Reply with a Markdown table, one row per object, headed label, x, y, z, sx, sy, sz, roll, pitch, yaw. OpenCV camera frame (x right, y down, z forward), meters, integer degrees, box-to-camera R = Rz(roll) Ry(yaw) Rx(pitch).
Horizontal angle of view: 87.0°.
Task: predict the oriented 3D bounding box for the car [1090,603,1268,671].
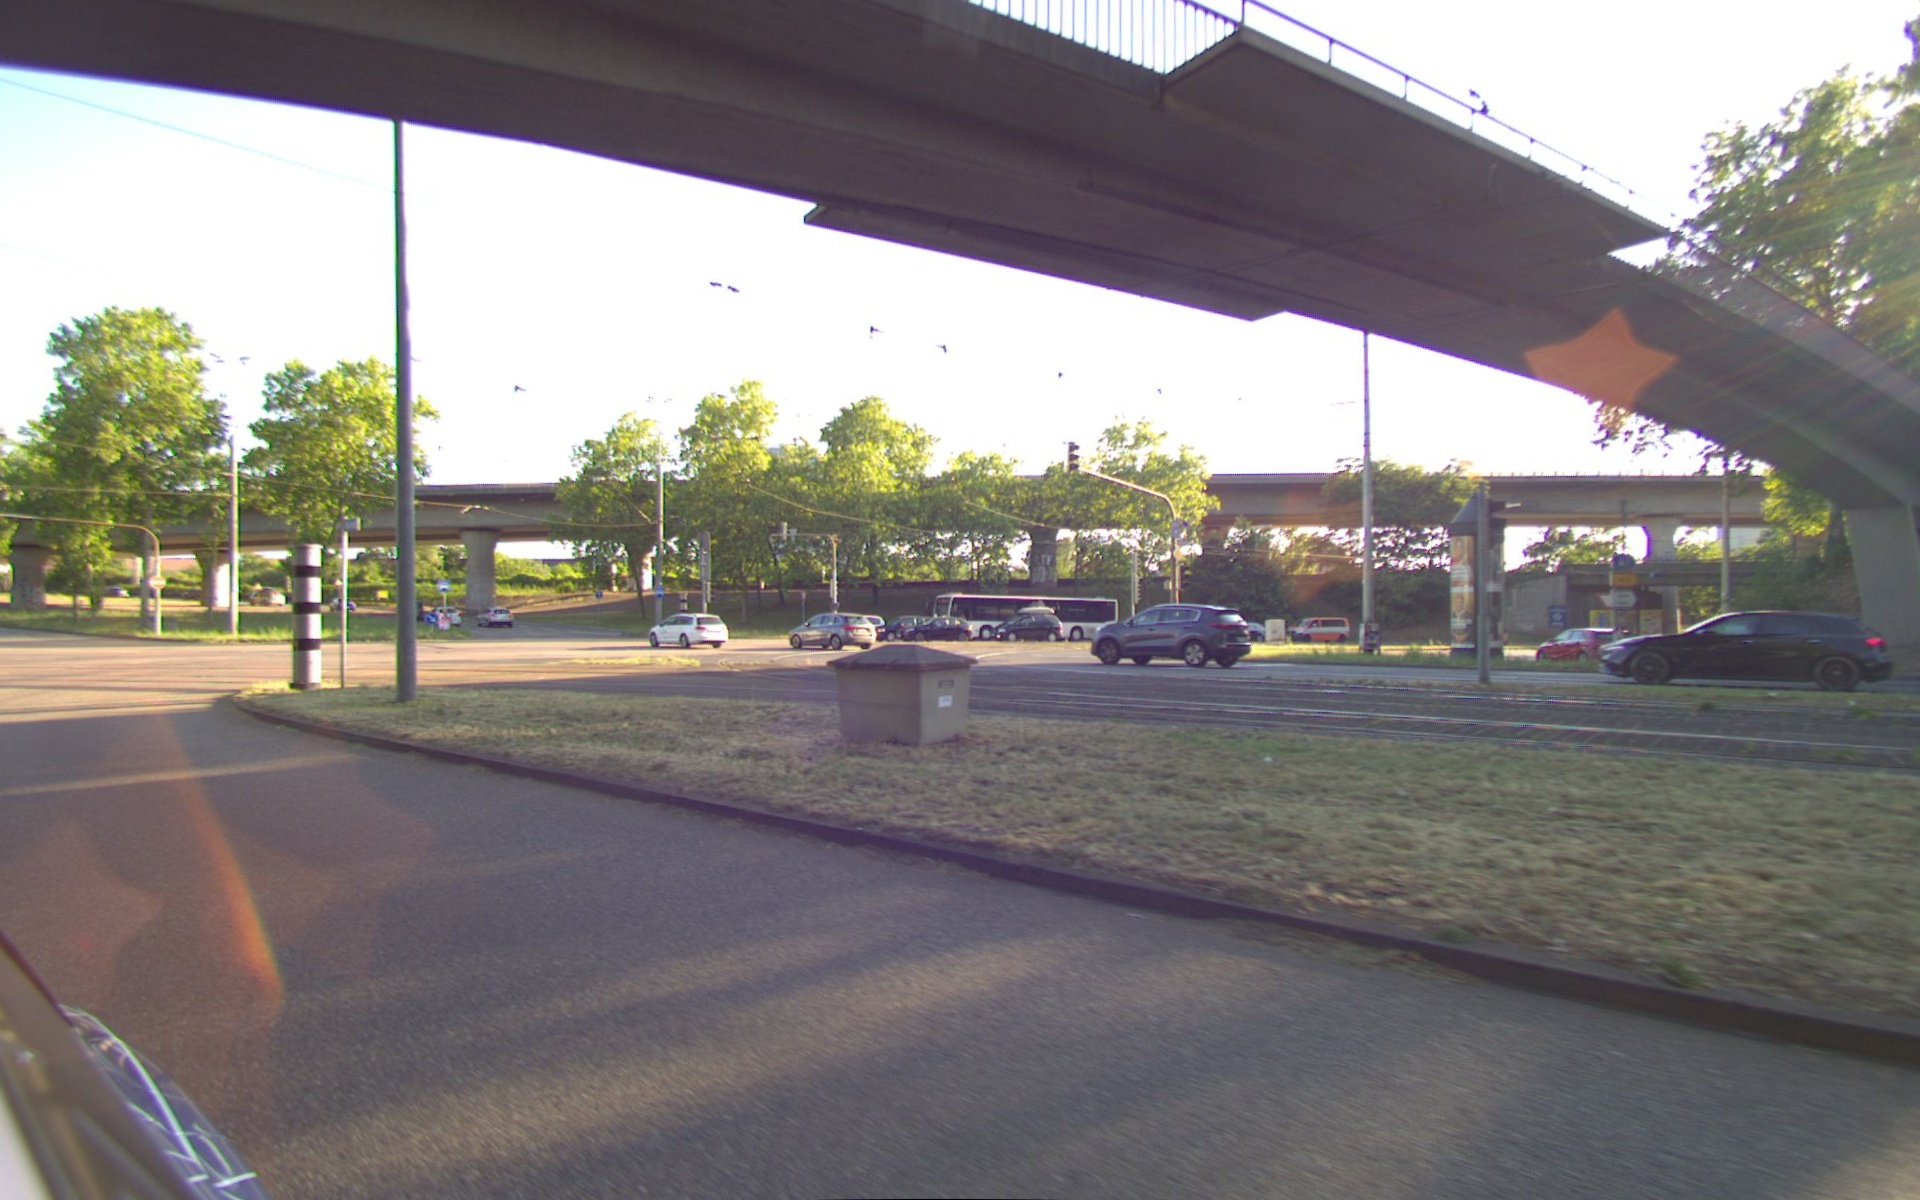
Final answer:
| label | x | y | z | sx | sy | sz | roll | pitch | yaw |
| --- | --- | --- | --- | --- | --- | --- | --- | --- | --- |
| car | 5.769 | 0.943 | 26.971 | 4.355 | 1.663 | 1.772 | -1 | -1 | 41 |

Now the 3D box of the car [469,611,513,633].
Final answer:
| label | x | y | z | sx | sy | sz | roll | pitch | yaw |
| --- | --- | --- | --- | --- | --- | --- | --- | --- | --- |
| car | -35.435 | 1.636 | 76.408 | 1.828 | 1.621 | 4.377 | 1 | -1 | -41 |

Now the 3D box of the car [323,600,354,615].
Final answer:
| label | x | y | z | sx | sy | sz | roll | pitch | yaw |
| --- | --- | --- | --- | --- | --- | --- | --- | --- | --- |
| car | -67.554 | 0.819 | 110.007 | 3.936 | 1.570 | 1.971 | 0 | -1 | 44 |

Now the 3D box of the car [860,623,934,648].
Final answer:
| label | x | y | z | sx | sy | sz | roll | pitch | yaw |
| --- | --- | --- | --- | --- | --- | --- | --- | --- | --- |
| car | -3.576 | 2.031 | 57.999 | 3.931 | 1.364 | 1.614 | 1 | -1 | -31 |

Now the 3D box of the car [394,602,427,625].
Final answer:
| label | x | y | z | sx | sy | sz | roll | pitch | yaw |
| --- | --- | --- | --- | --- | --- | --- | --- | --- | --- |
| car | -46.604 | 1.116 | 85.751 | 1.827 | 1.881 | 4.155 | 1 | -1 | -37 |

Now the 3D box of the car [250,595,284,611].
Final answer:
| label | x | y | z | sx | sy | sz | roll | pitch | yaw |
| --- | --- | --- | --- | --- | --- | --- | --- | --- | --- |
| car | -84.432 | 0.326 | 123.340 | 4.695 | 1.920 | 1.976 | 0 | -1 | 36 |

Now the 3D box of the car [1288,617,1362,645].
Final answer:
| label | x | y | z | sx | sy | sz | roll | pitch | yaw |
| --- | --- | --- | --- | --- | --- | --- | --- | --- | --- |
| car | 27.637 | 2.343 | 76.653 | 5.331 | 2.029 | 2.007 | 0 | -1 | -23 |

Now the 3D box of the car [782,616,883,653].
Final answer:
| label | x | y | z | sx | sy | sz | roll | pitch | yaw |
| --- | --- | --- | --- | --- | --- | --- | --- | --- | --- |
| car | -5.408 | 1.431 | 42.741 | 4.253 | 1.454 | 1.983 | -1 | -1 | 43 |

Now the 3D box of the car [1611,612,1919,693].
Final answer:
| label | x | y | z | sx | sy | sz | roll | pitch | yaw |
| --- | --- | --- | --- | --- | --- | --- | --- | --- | --- |
| car | 14.659 | 0.894 | 18.608 | 4.308 | 1.320 | 1.668 | -1 | -1 | 42 |

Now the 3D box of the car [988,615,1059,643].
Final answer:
| label | x | y | z | sx | sy | sz | roll | pitch | yaw |
| --- | --- | --- | --- | --- | --- | --- | --- | --- | --- |
| car | 3.892 | 1.764 | 61.678 | 4.024 | 1.665 | 1.722 | 1 | -1 | -28 |

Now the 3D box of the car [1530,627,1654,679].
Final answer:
| label | x | y | z | sx | sy | sz | roll | pitch | yaw |
| --- | --- | --- | --- | --- | --- | --- | --- | --- | --- |
| car | 21.913 | 1.779 | 35.303 | 1.773 | 1.663 | 4.352 | 0 | -1 | 4 |

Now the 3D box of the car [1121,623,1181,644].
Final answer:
| label | x | y | z | sx | sy | sz | roll | pitch | yaw |
| --- | --- | --- | --- | --- | --- | --- | --- | --- | --- |
| car | 13.430 | 2.332 | 71.135 | 3.931 | 1.453 | 1.711 | 1 | -1 | -28 |

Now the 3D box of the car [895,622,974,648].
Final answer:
| label | x | y | z | sx | sy | sz | roll | pitch | yaw |
| --- | --- | --- | --- | --- | --- | --- | --- | --- | --- |
| car | -1.381 | 1.931 | 55.790 | 4.024 | 1.364 | 1.722 | 1 | -1 | -28 |

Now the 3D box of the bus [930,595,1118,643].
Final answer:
| label | x | y | z | sx | sy | sz | roll | pitch | yaw |
| --- | --- | --- | --- | --- | --- | --- | --- | --- | --- |
| bus | 4.334 | 1.249 | 66.264 | 12.630 | 2.977 | 2.841 | 1 | -1 | -27 |

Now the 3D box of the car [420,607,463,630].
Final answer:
| label | x | y | z | sx | sy | sz | roll | pitch | yaw |
| --- | --- | --- | --- | --- | --- | --- | --- | --- | --- |
| car | -38.142 | 1.343 | 74.389 | 1.828 | 1.621 | 4.314 | 1 | -1 | -41 |

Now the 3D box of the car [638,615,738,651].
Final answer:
| label | x | y | z | sx | sy | sz | roll | pitch | yaw |
| --- | --- | --- | --- | --- | --- | --- | --- | --- | --- |
| car | -11.809 | 1.406 | 43.766 | 4.862 | 1.454 | 1.983 | -1 | -1 | 45 |
